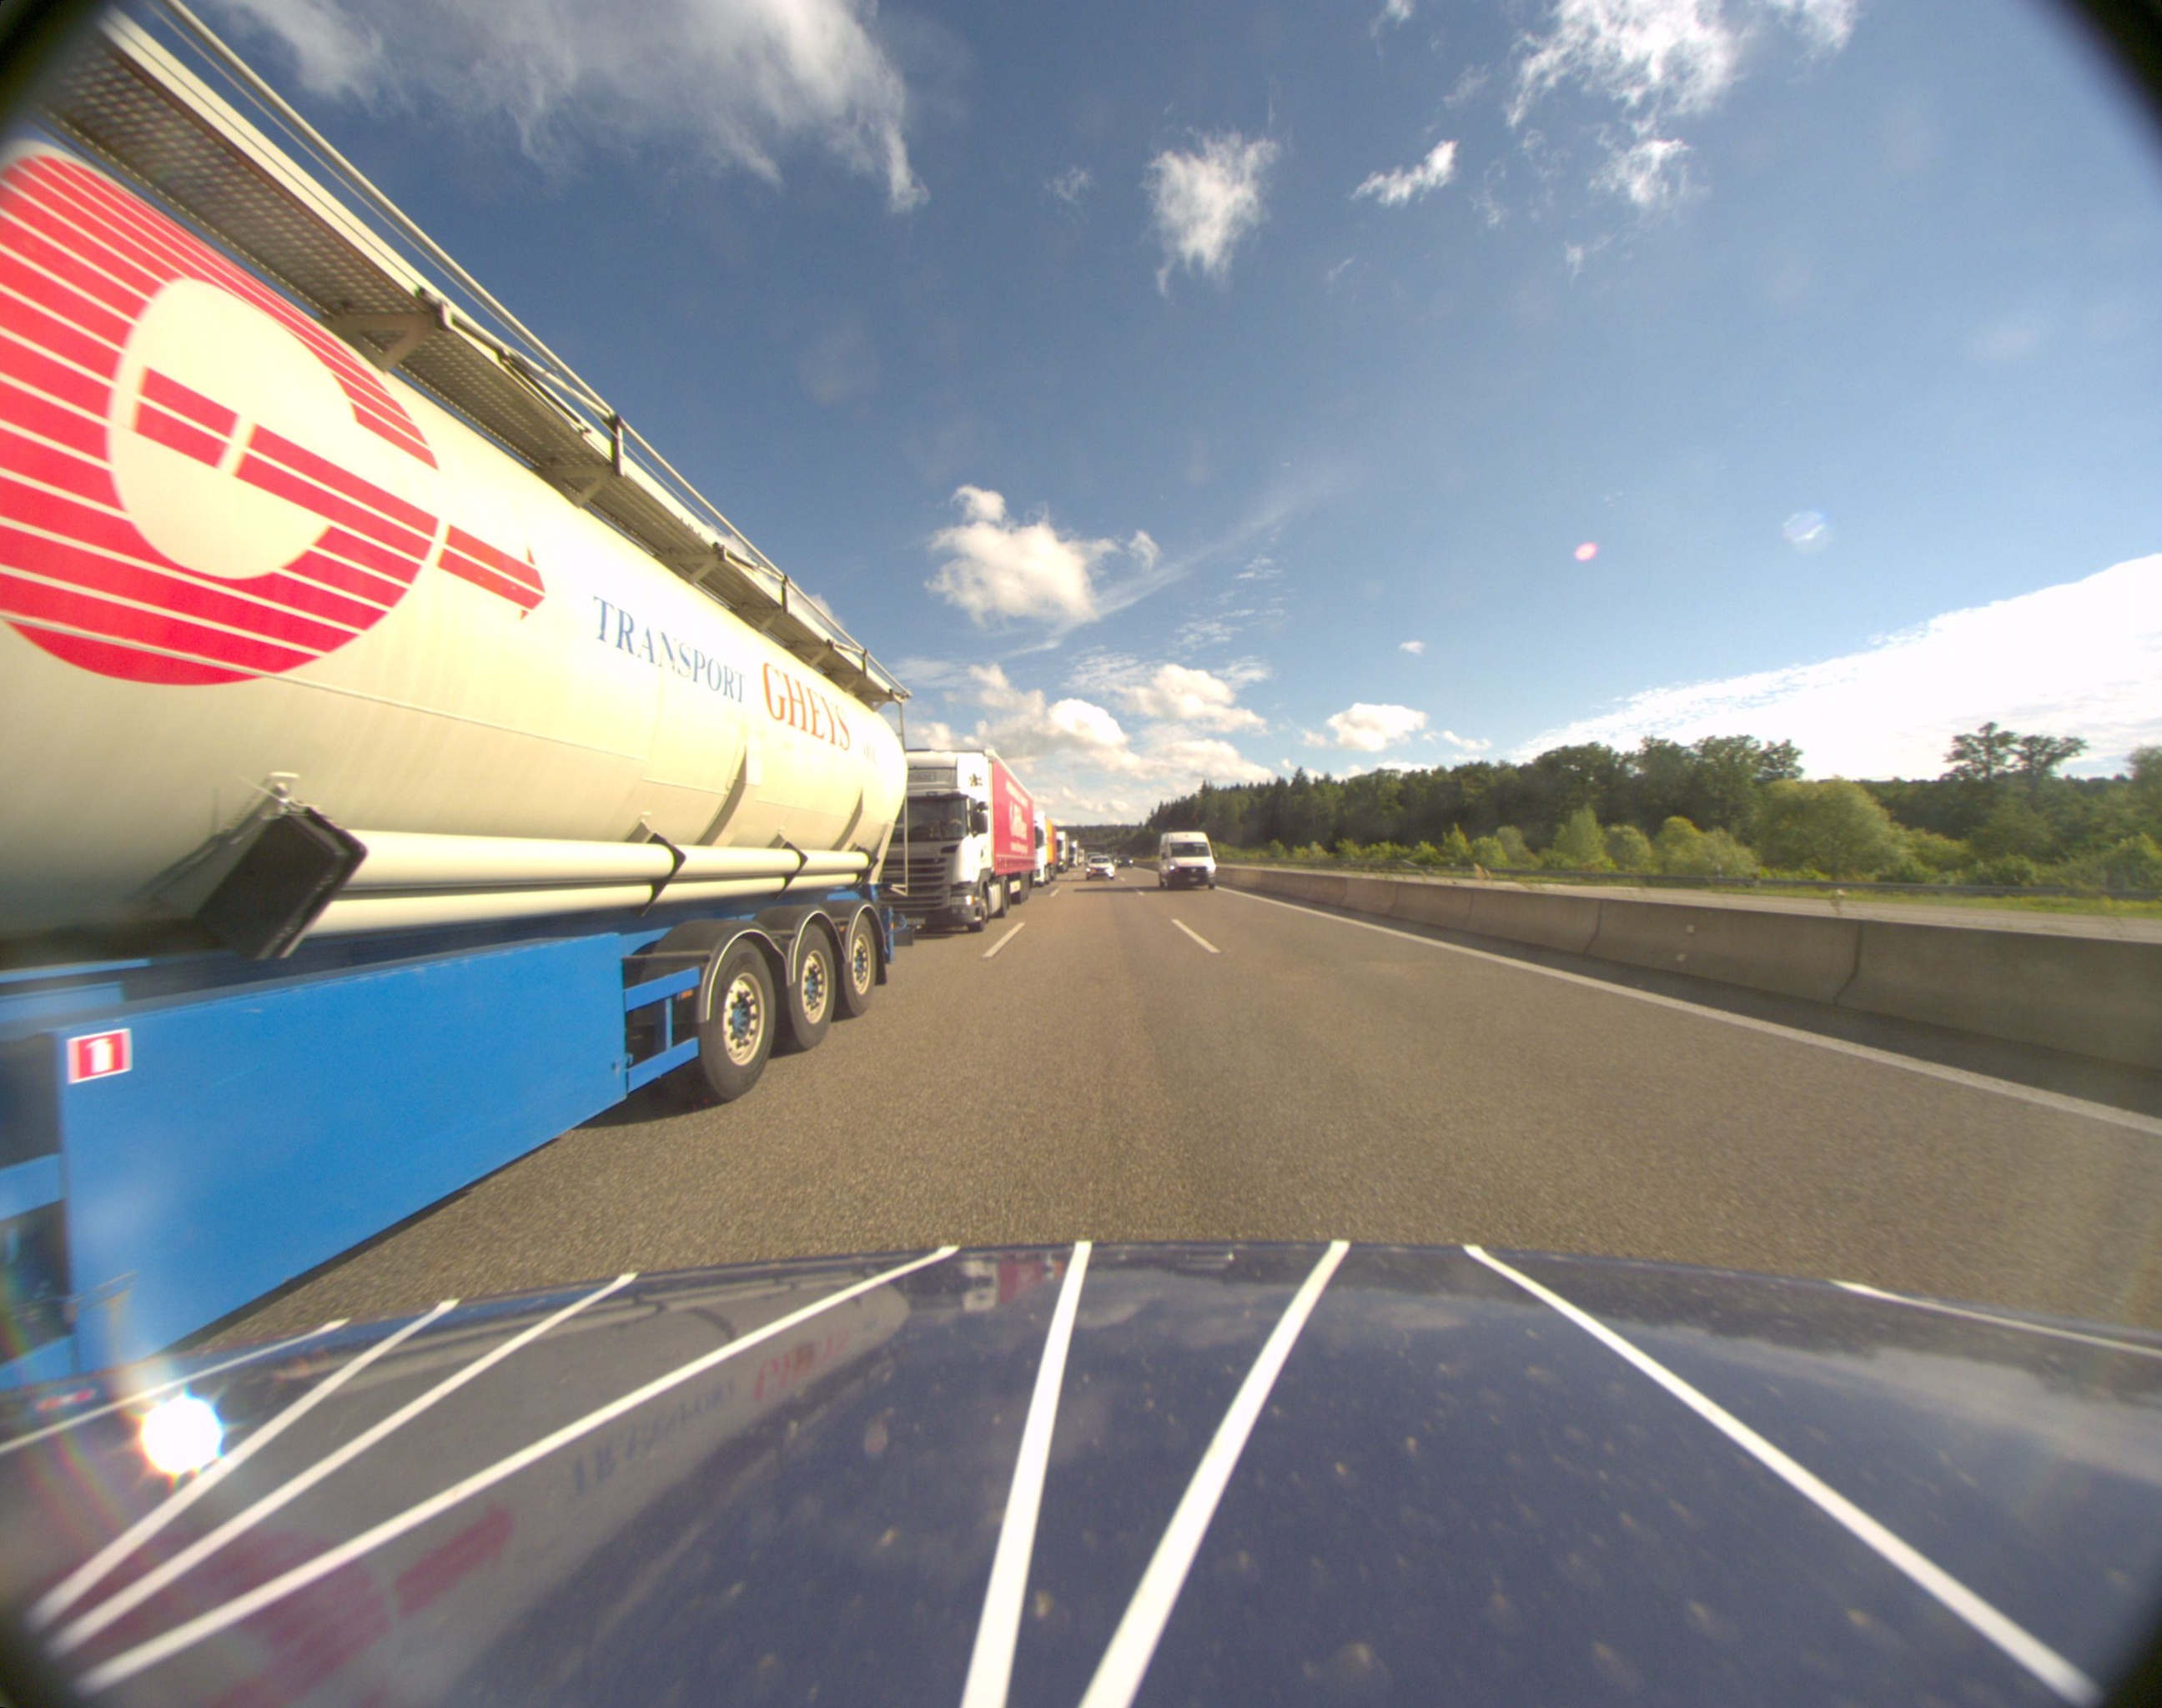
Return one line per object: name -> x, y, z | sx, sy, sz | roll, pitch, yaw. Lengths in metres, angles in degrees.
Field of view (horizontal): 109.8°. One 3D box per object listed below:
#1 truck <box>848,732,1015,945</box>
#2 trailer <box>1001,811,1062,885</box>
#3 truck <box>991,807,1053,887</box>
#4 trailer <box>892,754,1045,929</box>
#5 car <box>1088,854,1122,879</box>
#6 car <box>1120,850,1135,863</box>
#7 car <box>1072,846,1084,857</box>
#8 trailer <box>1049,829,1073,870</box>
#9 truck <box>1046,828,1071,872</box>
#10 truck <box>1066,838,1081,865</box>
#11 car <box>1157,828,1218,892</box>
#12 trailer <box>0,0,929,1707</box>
truck -> -3.115, -0.281, 17.536 | 2.370, 3.997, 6.106 | -1, 0, 2
trailer -> -2.896, -0.337, 48.554 | 2.624, 3.977, 13.366 | -2, 0, 1
truck -> -3.065, -0.335, 41.058 | 2.634, 3.959, 5.956 | -2, 0, 1
trailer -> -2.915, -0.310, 24.581 | 2.334, 3.974, 14.300 | -1, 0, 2
car -> 1.612, 0.777, 49.484 | 2.026, 1.511, 5.300 | 2, 0, 3
car -> 5.856, 0.351, 96.333 | 1.778, 1.533, 4.158 | 2, 1, 2
car -> -0.571, -0.437, 145.603 | 2.129, 2.030, 4.698 | 2, 0, 3
trailer -> -2.059, -0.428, 78.860 | 1.998, 3.999, 7.345 | -2, 1, 1
truck -> -2.168, -0.380, 73.565 | 1.998, 4.025, 5.870 | -2, 1, 1
truck -> -1.097, -0.414, 115.469 | 1.998, 3.999, 7.345 | -2, 1, 1
car -> 4.742, 0.229, 34.627 | 2.020, 2.584, 6.182 | -1, 0, 1
trailer -> -3.472, -0.233, 4.500 | 2.652, 3.912, 11.173 | -2, 1, 1
